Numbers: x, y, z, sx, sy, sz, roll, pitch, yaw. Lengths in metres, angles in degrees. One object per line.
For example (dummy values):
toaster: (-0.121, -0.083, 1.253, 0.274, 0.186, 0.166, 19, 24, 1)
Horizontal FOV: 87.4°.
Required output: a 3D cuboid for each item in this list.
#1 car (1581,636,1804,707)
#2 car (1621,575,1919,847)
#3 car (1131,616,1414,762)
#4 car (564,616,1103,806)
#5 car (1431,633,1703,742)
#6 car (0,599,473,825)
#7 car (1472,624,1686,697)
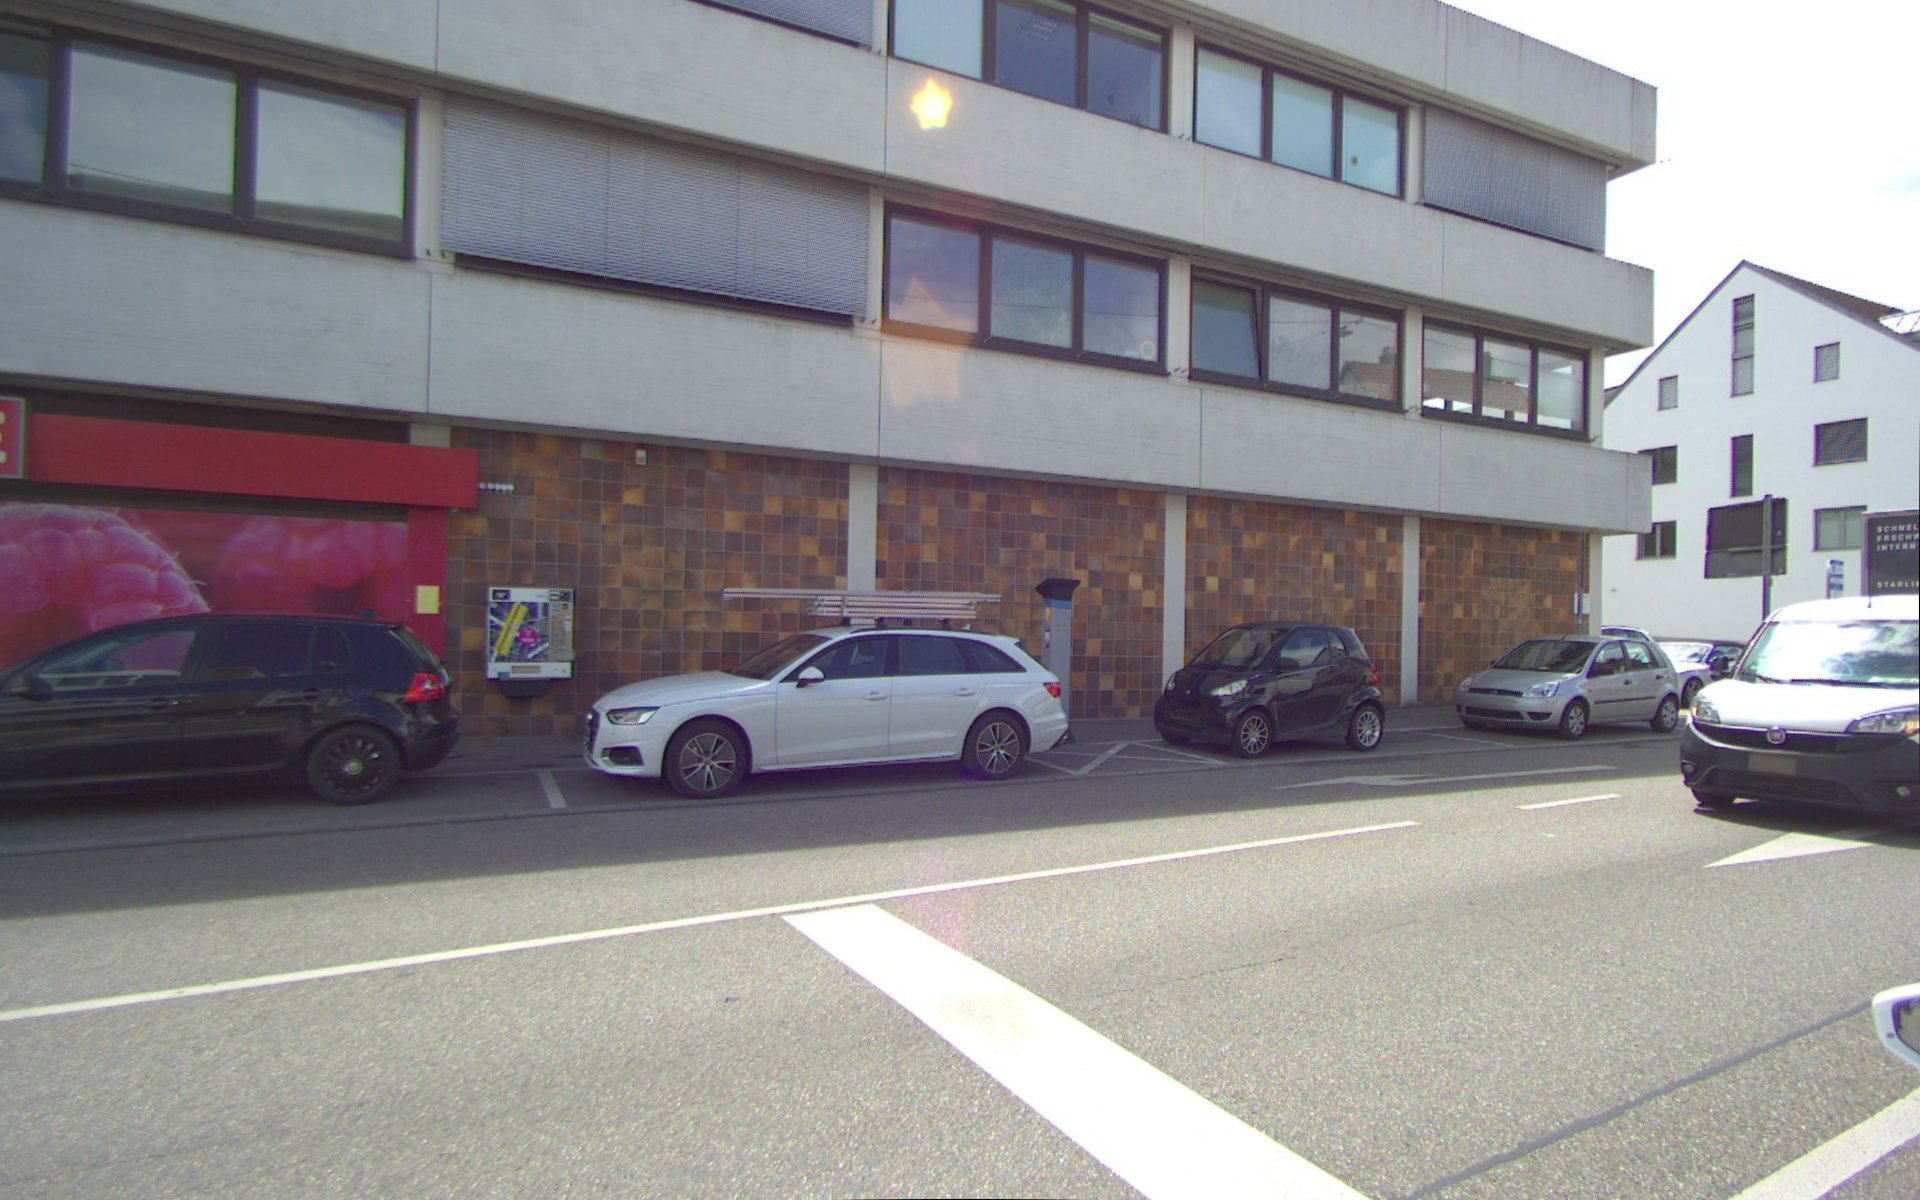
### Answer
car: (15.996, 1.506, 21.903, 4.791, 1.376, 1.945, 1, -2, -26)
car: (7.886, 0.824, 8.709, 4.228, 1.845, 1.936, 1, -2, -30)
car: (3.875, 1.025, 12.501, 3.016, 1.576, 1.730, 1, 0, -27)
car: (-1.194, 0.938, 9.906, 4.887, 1.463, 2.037, 1, 0, -27)
car: (9.381, 1.270, 15.482, 4.095, 1.441, 1.715, 1, 0, -28)
car: (-6.234, 0.766, 7.931, 4.232, 1.495, 2.036, 1, 0, -28)
car: (15.006, 1.445, 24.346, 4.859, 1.640, 1.947, 1, -4, -24)
